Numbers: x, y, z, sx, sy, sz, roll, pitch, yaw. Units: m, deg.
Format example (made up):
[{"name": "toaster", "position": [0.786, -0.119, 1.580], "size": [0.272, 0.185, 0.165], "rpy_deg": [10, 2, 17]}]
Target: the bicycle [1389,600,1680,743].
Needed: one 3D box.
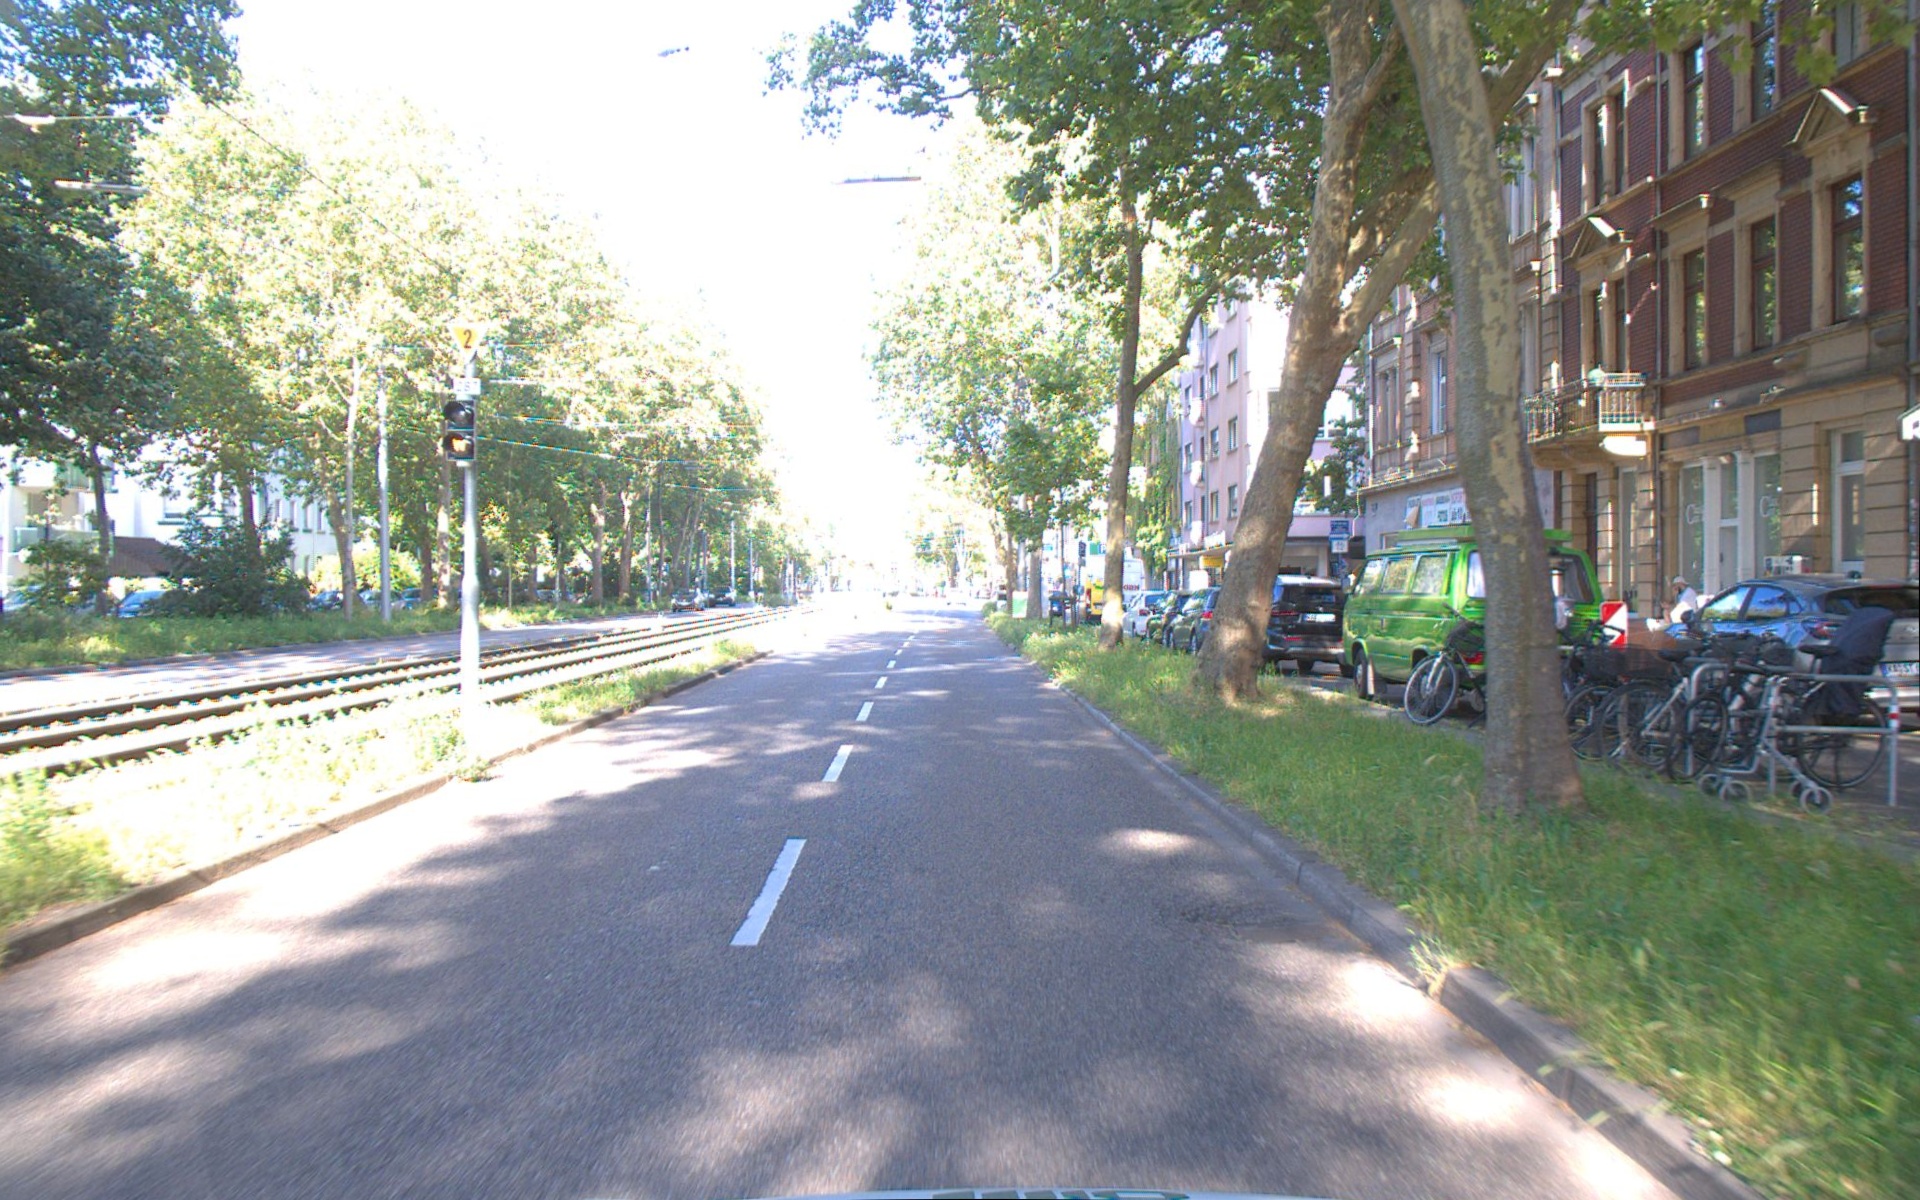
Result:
[{"name": "bicycle", "position": [5.559, 0.682, 16.088], "size": [2.501, 1.317, 0.973], "rpy_deg": [1, 0, -8]}]

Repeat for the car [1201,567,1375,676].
[{"name": "car", "position": [5.616, 0.338, 28.920], "size": [1.853, 1.676, 4.798], "rpy_deg": [3, 0, -2]}]

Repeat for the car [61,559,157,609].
[{"name": "car", "position": [-35.580, -0.662, 69.273], "size": [1.953, 2.049, 4.000], "rpy_deg": [0, 0, 0]}]

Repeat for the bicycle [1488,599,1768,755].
[{"name": "bicycle", "position": [5.927, 0.667, 14.721], "size": [2.125, 1.317, 0.980], "rpy_deg": [1, 0, -12]}]

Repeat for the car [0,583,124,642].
[{"name": "car", "position": [-27.114, 0.376, 49.364], "size": [1.988, 1.626, 5.084], "rpy_deg": [-2, 0, -4]}]

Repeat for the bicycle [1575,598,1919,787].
[{"name": "bicycle", "position": [5.814, 0.657, 12.281], "size": [2.119, 1.317, 0.983], "rpy_deg": [1, 0, 1]}]

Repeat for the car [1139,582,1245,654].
[{"name": "car", "position": [5.383, 0.403, 38.849], "size": [1.718, 1.522, 4.183], "rpy_deg": [3, 0, -2]}]

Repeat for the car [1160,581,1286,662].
[{"name": "car", "position": [5.350, 0.401, 34.103], "size": [1.702, 1.489, 4.363], "rpy_deg": [3, 0, -2]}]

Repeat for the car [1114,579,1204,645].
[{"name": "car", "position": [5.216, 0.291, 43.789], "size": [1.718, 1.599, 4.183], "rpy_deg": [3, 0, -2]}]

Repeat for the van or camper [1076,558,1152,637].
[{"name": "van or camper", "position": [5.239, -0.081, 57.081], "size": [2.139, 2.523, 6.269], "rpy_deg": [2, 0, 2]}]

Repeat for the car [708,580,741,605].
[{"name": "car", "position": [-19.319, -0.626, 135.726], "size": [1.953, 1.903, 4.872], "rpy_deg": [-2, 1, 0]}]

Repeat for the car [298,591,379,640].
[{"name": "car", "position": [-27.250, 0.665, 72.682], "size": [1.952, 2.049, 4.103], "rpy_deg": [0, 1, 1]}]

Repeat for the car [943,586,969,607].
[{"name": "car", "position": [-0.344, -0.301, 136.373], "size": [1.980, 1.691, 3.999], "rpy_deg": [0, 0, -2]}]

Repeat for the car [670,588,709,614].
[{"name": "car", "position": [-17.469, 0.055, 106.954], "size": [1.759, 1.534, 4.338], "rpy_deg": [-3, 0, 0]}]

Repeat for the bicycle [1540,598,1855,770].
[{"name": "bicycle", "position": [5.946, 0.659, 13.434], "size": [2.120, 1.317, 0.983], "rpy_deg": [1, 0, -1]}]

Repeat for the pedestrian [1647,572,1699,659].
[{"name": "pedestrian", "position": [12.495, 0.265, 29.010], "size": [0.585, 1.502, 0.767], "rpy_deg": [0, 0, 0]}]

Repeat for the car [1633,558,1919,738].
[{"name": "car", "position": [8.789, 0.451, 17.216], "size": [1.718, 1.606, 4.183], "rpy_deg": [3, 0, -2]}]

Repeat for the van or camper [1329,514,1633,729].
[{"name": "van or camper", "position": [5.903, 0.212, 19.406], "size": [1.797, 2.134, 4.772], "rpy_deg": [3, 0, -3]}]

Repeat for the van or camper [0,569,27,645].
[{"name": "van or camper", "position": [-26.791, 0.194, 42.986], "size": [2.220, 2.049, 5.215], "rpy_deg": [0, 0, -1]}]

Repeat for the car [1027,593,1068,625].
[{"name": "car", "position": [4.452, 0.442, 84.634], "size": [1.649, 1.540, 3.665], "rpy_deg": [1, 0, -3]}]
